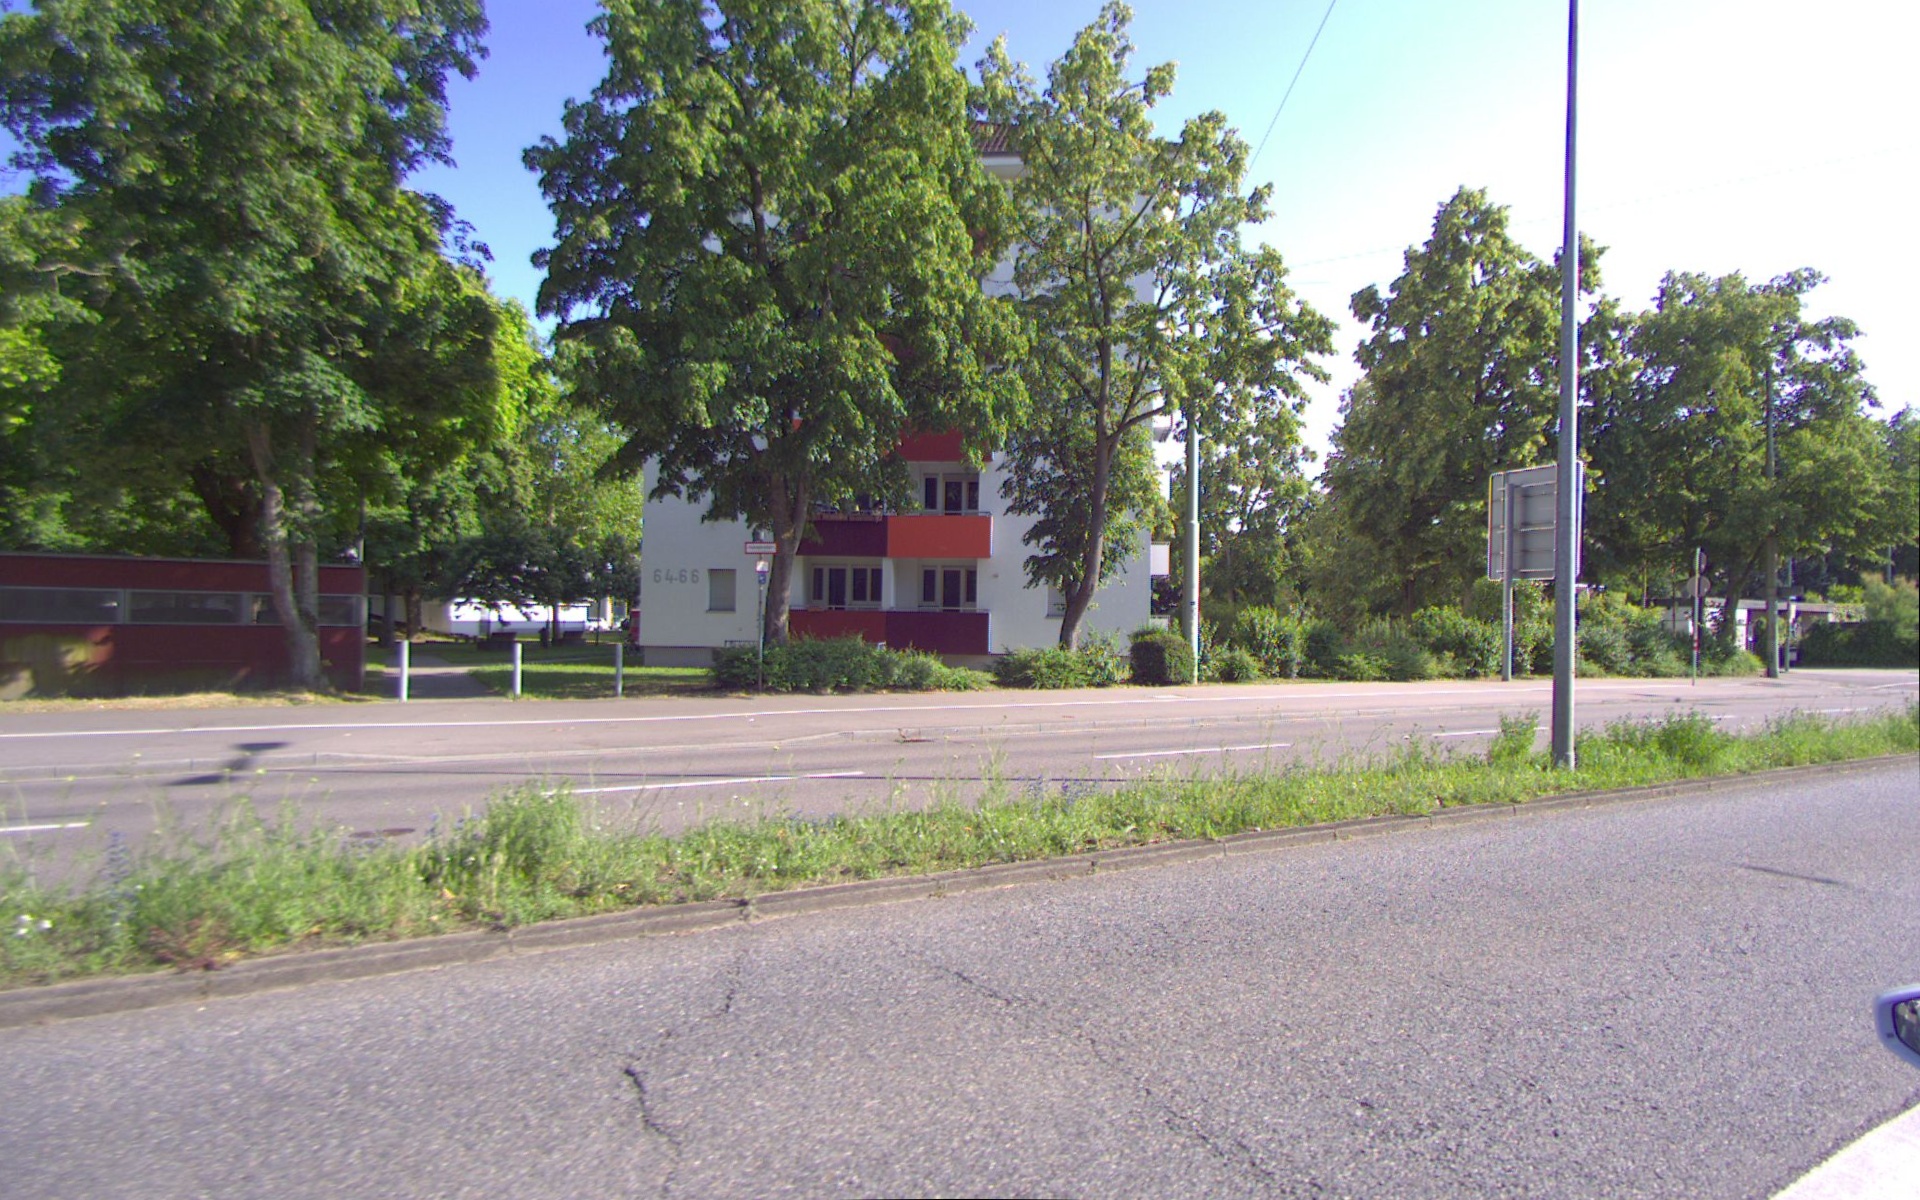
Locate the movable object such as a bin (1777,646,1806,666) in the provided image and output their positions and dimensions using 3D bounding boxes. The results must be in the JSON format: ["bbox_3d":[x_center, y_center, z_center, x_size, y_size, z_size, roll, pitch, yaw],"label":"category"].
[{"bbox_3d":[40.680,2.719,49.151,0.842,0.943,0.813,1,-1,-28],"label":"movable object such as a bin"}]

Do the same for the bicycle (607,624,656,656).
[{"bbox_3d":[-12.064,1.450,36.959,0.732,1.124,2.539,1,-1,6],"label":"bicycle"}]
